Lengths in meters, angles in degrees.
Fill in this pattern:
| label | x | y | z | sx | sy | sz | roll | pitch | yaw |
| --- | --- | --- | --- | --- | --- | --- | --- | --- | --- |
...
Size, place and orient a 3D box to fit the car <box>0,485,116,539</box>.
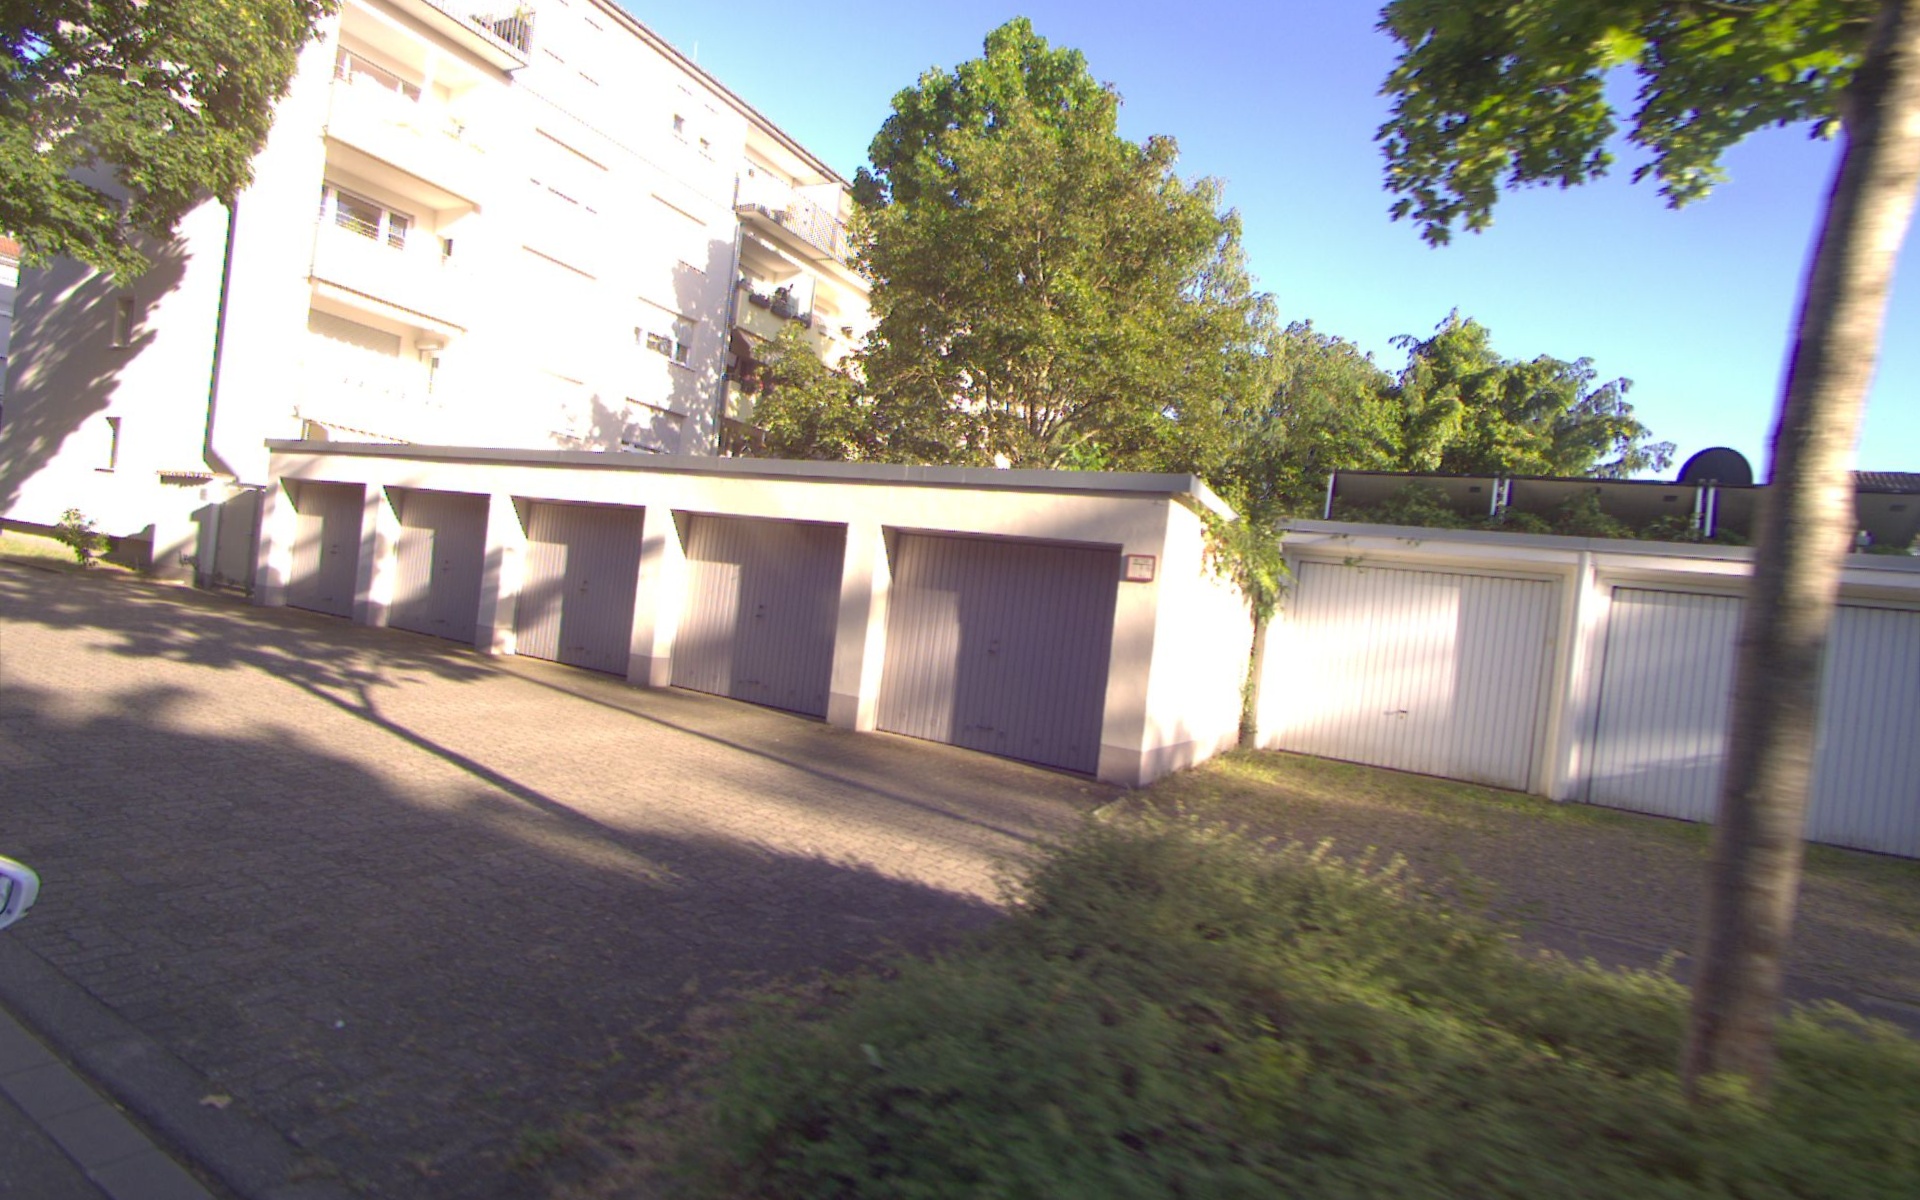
| label | x | y | z | sx | sy | sz | roll | pitch | yaw |
| --- | --- | --- | --- | --- | --- | --- | --- | --- | --- |
| car | -35.783 | -3.460 | 39.335 | 1.620 | 1.515 | 3.834 | 7 | -1 | 28 |
